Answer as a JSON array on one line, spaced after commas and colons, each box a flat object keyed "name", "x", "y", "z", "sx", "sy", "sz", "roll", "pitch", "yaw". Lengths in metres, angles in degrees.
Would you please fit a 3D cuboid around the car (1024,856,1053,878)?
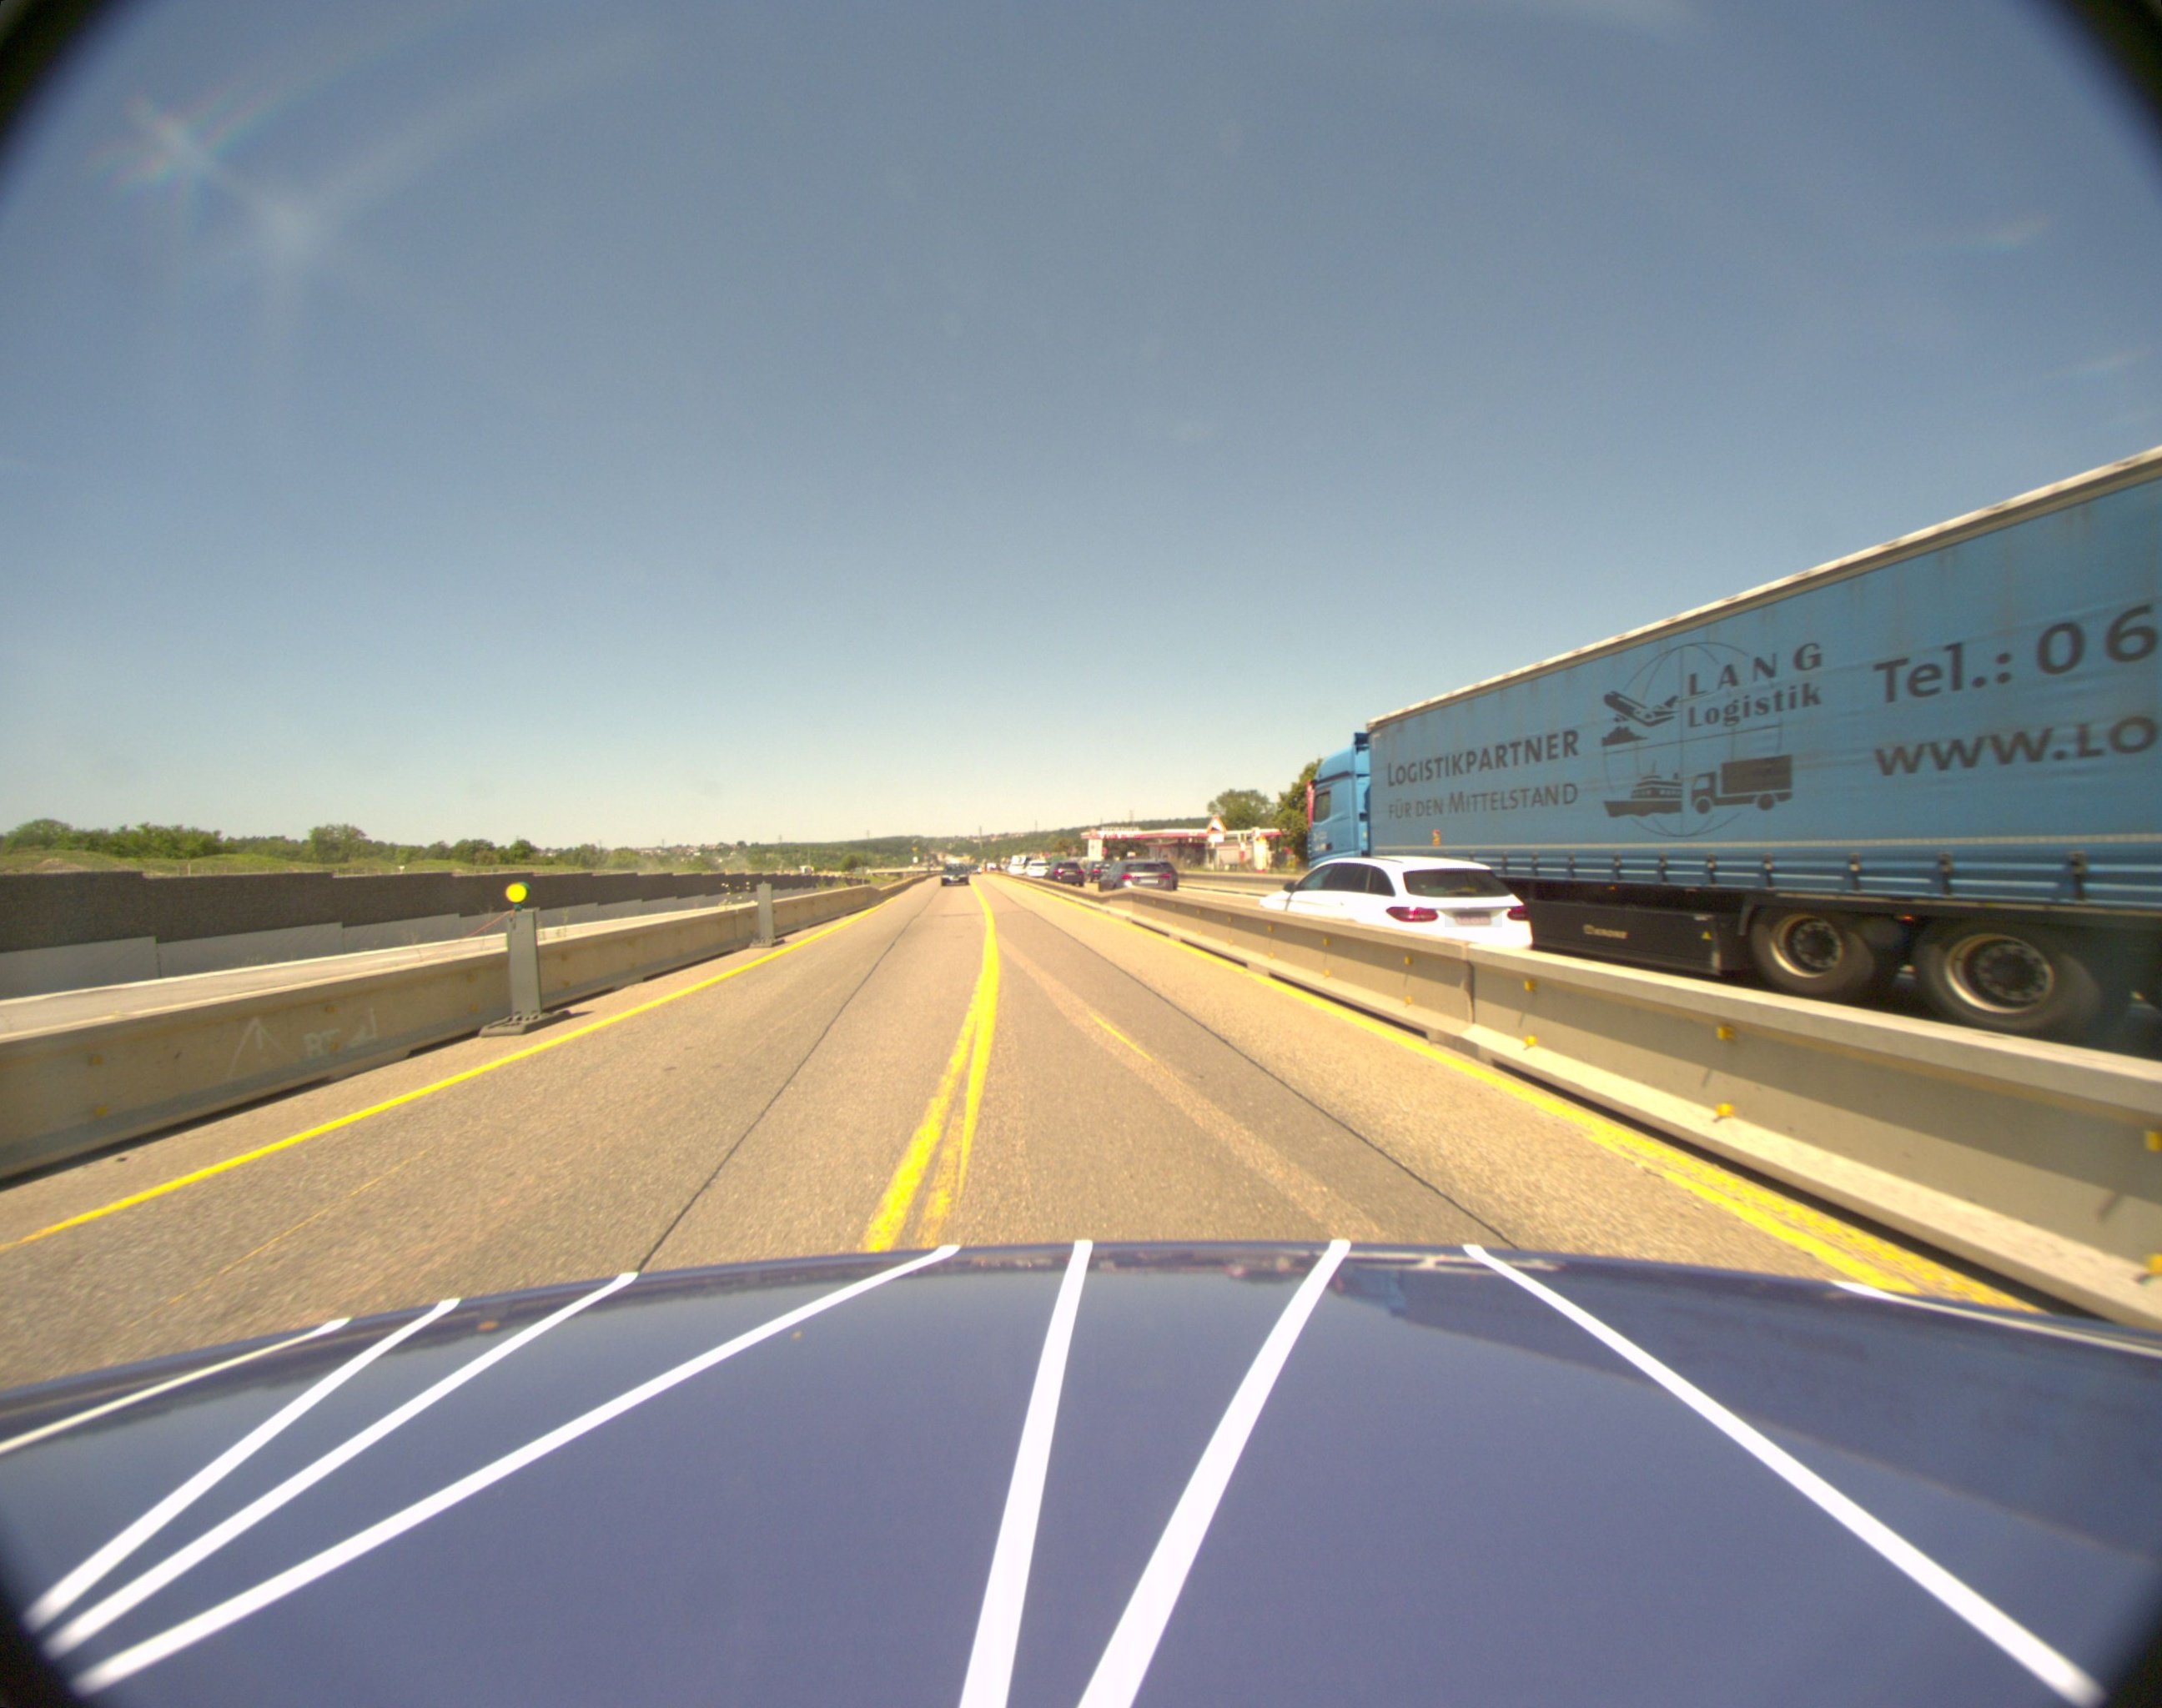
[{"name": "car", "x": -3.303, "y": 0.975, "z": 58.375, "sx": 1.739, "sy": 1.470, "sz": 4.516, "roll": -5, "pitch": 0, "yaw": -9}]

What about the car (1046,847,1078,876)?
[{"name": "car", "x": -1.792, "y": 0.682, "z": 70.316, "sx": 1.920, "sy": 2.385, "sz": 6.447, "roll": -4, "pitch": 0, "yaw": -9}]

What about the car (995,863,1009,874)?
[{"name": "car", "x": -12.650, "y": 2.318, "z": 121.270, "sx": 1.911, "sy": 1.599, "sz": 3.998, "roll": -1, "pitch": -1, "yaw": -9}]

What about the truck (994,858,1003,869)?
[{"name": "truck", "x": -21.645, "y": 2.477, "z": 200.538, "sx": 2.246, "sy": 2.769, "sz": 6.490, "roll": -1, "pitch": -1, "yaw": -6}]

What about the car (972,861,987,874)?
[{"name": "car", "x": -13.772, "y": 1.794, "z": 102.740, "sx": 1.819, "sy": 1.652, "sz": 3.997, "roll": -5, "pitch": 0, "yaw": -10}]

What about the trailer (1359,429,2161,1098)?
[{"name": "trailer", "x": 7.707, "y": -0.560, "z": 7.968, "sx": 2.923, "sy": 4.104, "sz": 13.907, "roll": -2, "pitch": 0, "yaw": -7}]

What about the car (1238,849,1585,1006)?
[{"name": "car", "x": 3.938, "y": 0.766, "z": 10.149, "sx": 2.023, "sy": 1.436, "sz": 4.584, "roll": -5, "pitch": 0, "yaw": -9}]

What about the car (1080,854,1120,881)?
[{"name": "car", "x": 1.202, "y": 0.855, "z": 49.384, "sx": 1.772, "sy": 1.588, "sz": 3.997, "roll": -5, "pitch": 0, "yaw": -9}]

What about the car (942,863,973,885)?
[{"name": "car", "x": -7.736, "y": 1.234, "z": 47.799, "sx": 1.811, "sy": 1.299, "sz": 3.998, "roll": -1, "pitch": -1, "yaw": -8}]

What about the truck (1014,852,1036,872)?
[{"name": "truck", "x": -8.255, "y": 1.141, "z": 110.963, "sx": 2.488, "sy": 2.807, "sz": 8.123, "roll": -1, "pitch": 0, "yaw": -9}]

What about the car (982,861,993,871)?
[{"name": "car", "x": -17.672, "y": 2.325, "z": 143.485, "sx": 1.859, "sy": 1.828, "sz": 4.588, "roll": -1, "pitch": -1, "yaw": -9}]

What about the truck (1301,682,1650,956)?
[{"name": "truck", "x": 6.922, "y": -0.540, "z": 14.589, "sx": 2.923, "sy": 4.104, "sz": 6.134, "roll": -2, "pitch": 0, "yaw": -7}]

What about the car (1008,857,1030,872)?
[{"name": "car", "x": -6.466, "y": 1.051, "z": 79.367, "sx": 1.822, "sy": 1.368, "sz": 4.244, "roll": -5, "pitch": 0, "yaw": -9}]

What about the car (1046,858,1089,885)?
[{"name": "car", "x": -0.815, "y": 0.948, "z": 42.203, "sx": 1.780, "sy": 1.419, "sz": 4.766, "roll": 0, "pitch": -1, "yaw": -9}]

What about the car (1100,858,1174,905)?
[{"name": "car", "x": 1.763, "y": 0.849, "z": 25.304, "sx": 1.594, "sy": 1.432, "sz": 4.122, "roll": 0, "pitch": 0, "yaw": -9}]

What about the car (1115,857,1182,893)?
[{"name": "car", "x": 3.118, "y": 0.956, "z": 36.154, "sx": 2.000, "sy": 1.391, "sz": 4.576, "roll": -5, "pitch": 0, "yaw": -9}]
